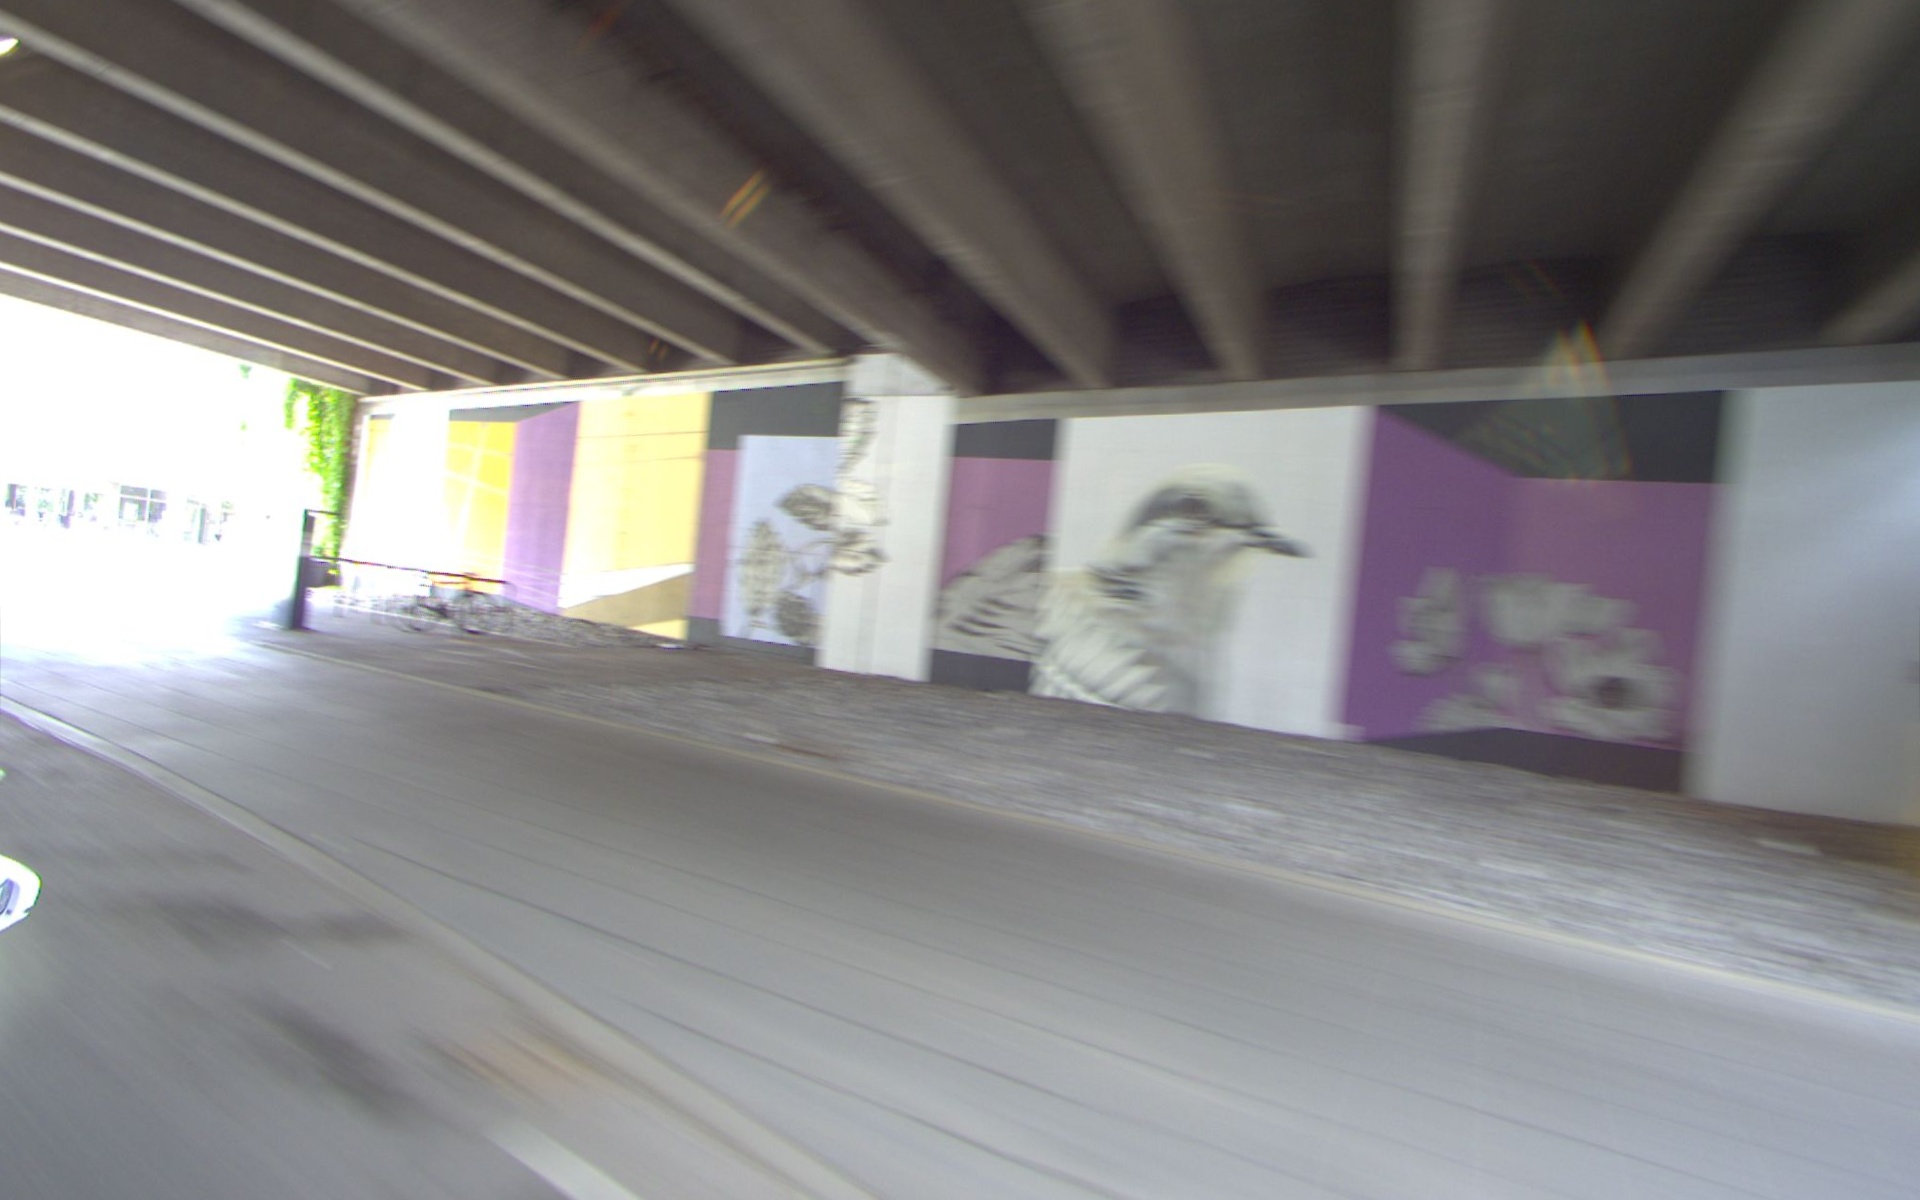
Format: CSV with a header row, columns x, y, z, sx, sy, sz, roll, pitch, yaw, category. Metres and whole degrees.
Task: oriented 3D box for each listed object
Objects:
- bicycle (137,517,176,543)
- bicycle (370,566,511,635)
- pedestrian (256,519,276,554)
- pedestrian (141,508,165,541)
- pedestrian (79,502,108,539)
x,y,z,sx,sy,sz,roll,pitch,yaw,category
-45.605,-3.968,57.108,1.525,1.181,0.493,8,-2,-27,bicycle
-7.932,0.036,15.453,0.498,0.915,1.949,6,0,26,bicycle
-38.060,-3.471,55.169,0.685,1.844,0.616,7,4,25,pedestrian
-45.836,-4.289,57.149,0.606,1.694,0.698,7,0,19,pedestrian
-42.761,-3.931,49.633,0.605,1.694,0.698,7,0,7,pedestrian
